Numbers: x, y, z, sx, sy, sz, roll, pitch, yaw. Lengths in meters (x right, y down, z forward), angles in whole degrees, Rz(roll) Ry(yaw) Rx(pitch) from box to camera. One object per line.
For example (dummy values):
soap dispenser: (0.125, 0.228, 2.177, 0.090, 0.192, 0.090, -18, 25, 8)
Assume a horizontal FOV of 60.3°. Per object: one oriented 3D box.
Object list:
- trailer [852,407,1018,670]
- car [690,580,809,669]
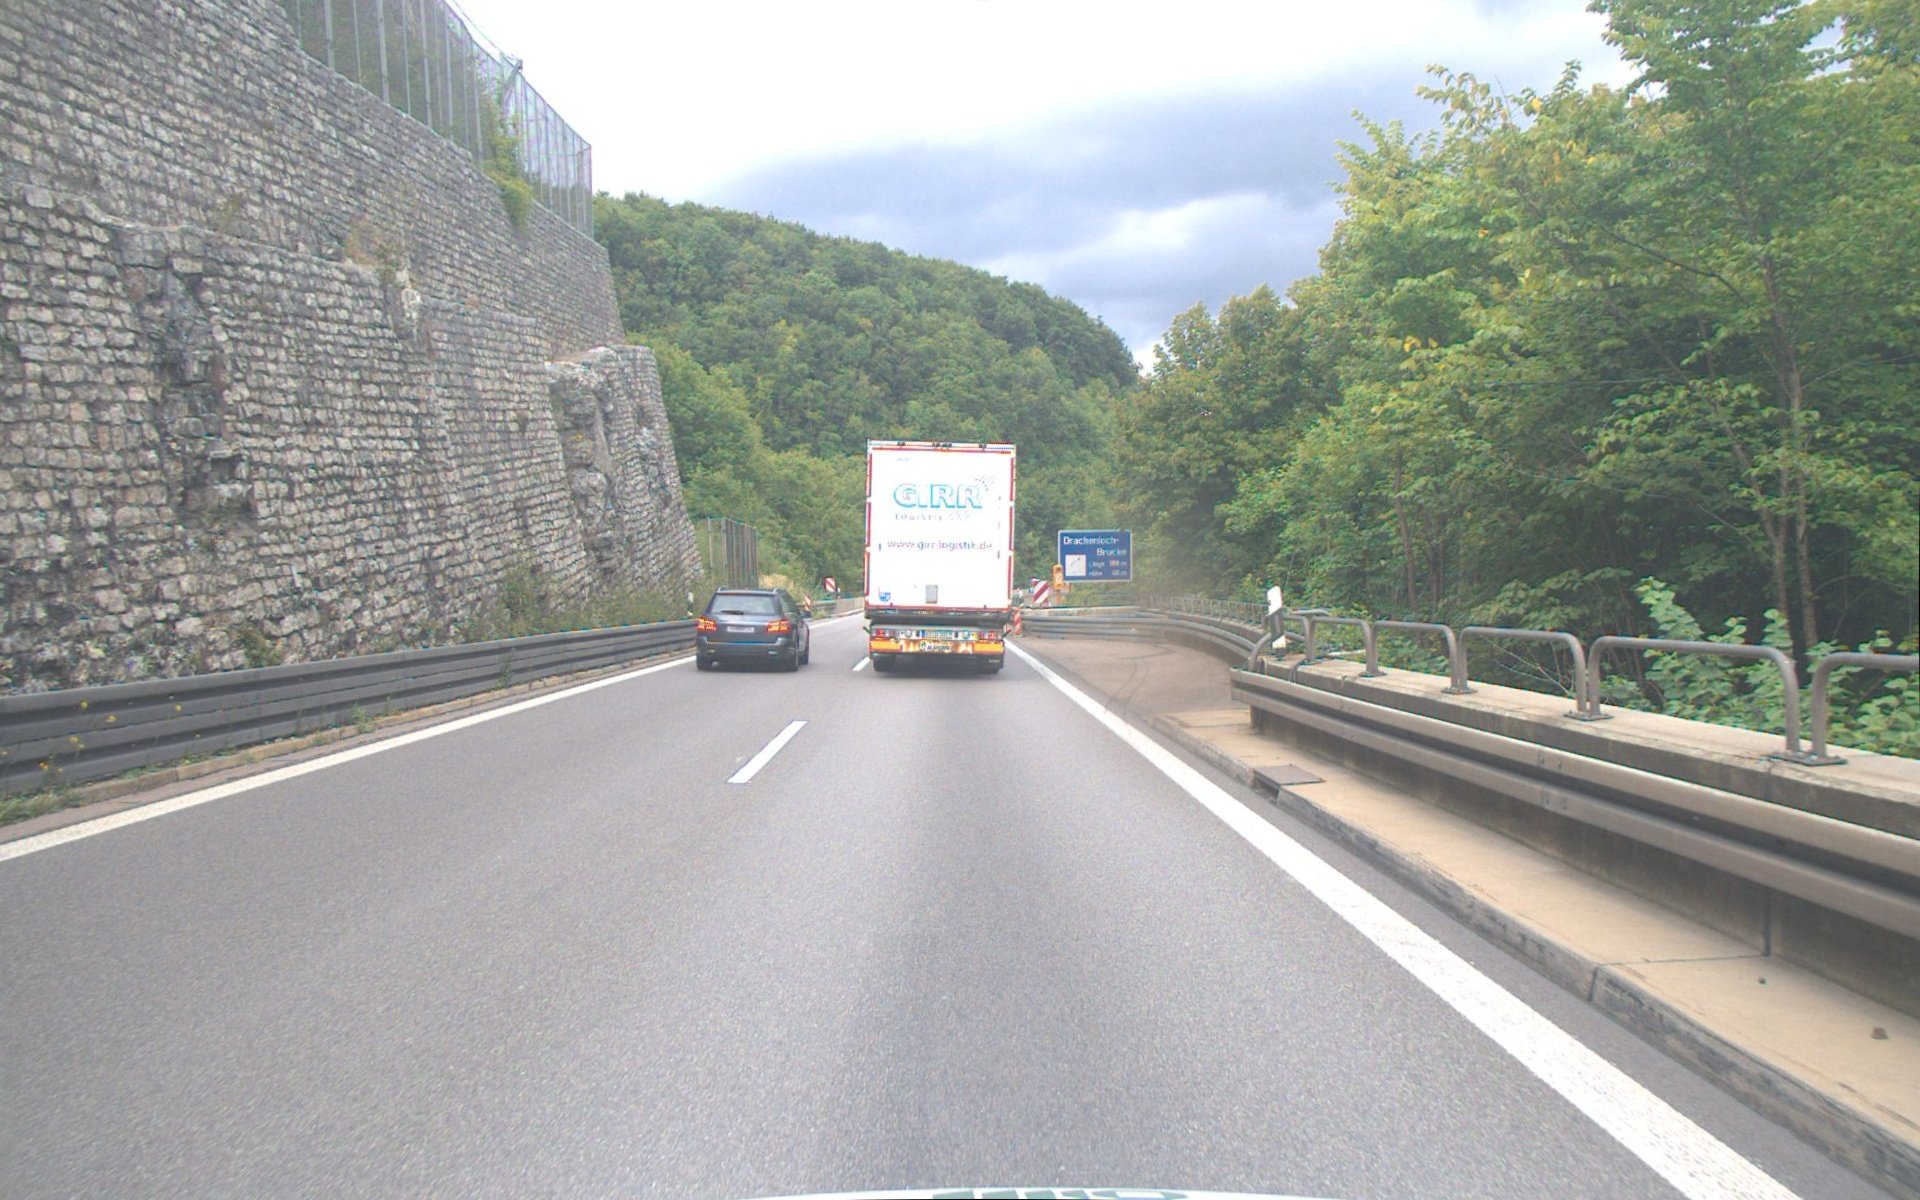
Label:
trailer: (-0.610, -1.007, 33.766, 2.756, 4.378, 12.240, 0, 0, -2)
car: (-3.854, 0.431, 30.978, 1.846, 1.536, 4.416, 0, 0, -3)
